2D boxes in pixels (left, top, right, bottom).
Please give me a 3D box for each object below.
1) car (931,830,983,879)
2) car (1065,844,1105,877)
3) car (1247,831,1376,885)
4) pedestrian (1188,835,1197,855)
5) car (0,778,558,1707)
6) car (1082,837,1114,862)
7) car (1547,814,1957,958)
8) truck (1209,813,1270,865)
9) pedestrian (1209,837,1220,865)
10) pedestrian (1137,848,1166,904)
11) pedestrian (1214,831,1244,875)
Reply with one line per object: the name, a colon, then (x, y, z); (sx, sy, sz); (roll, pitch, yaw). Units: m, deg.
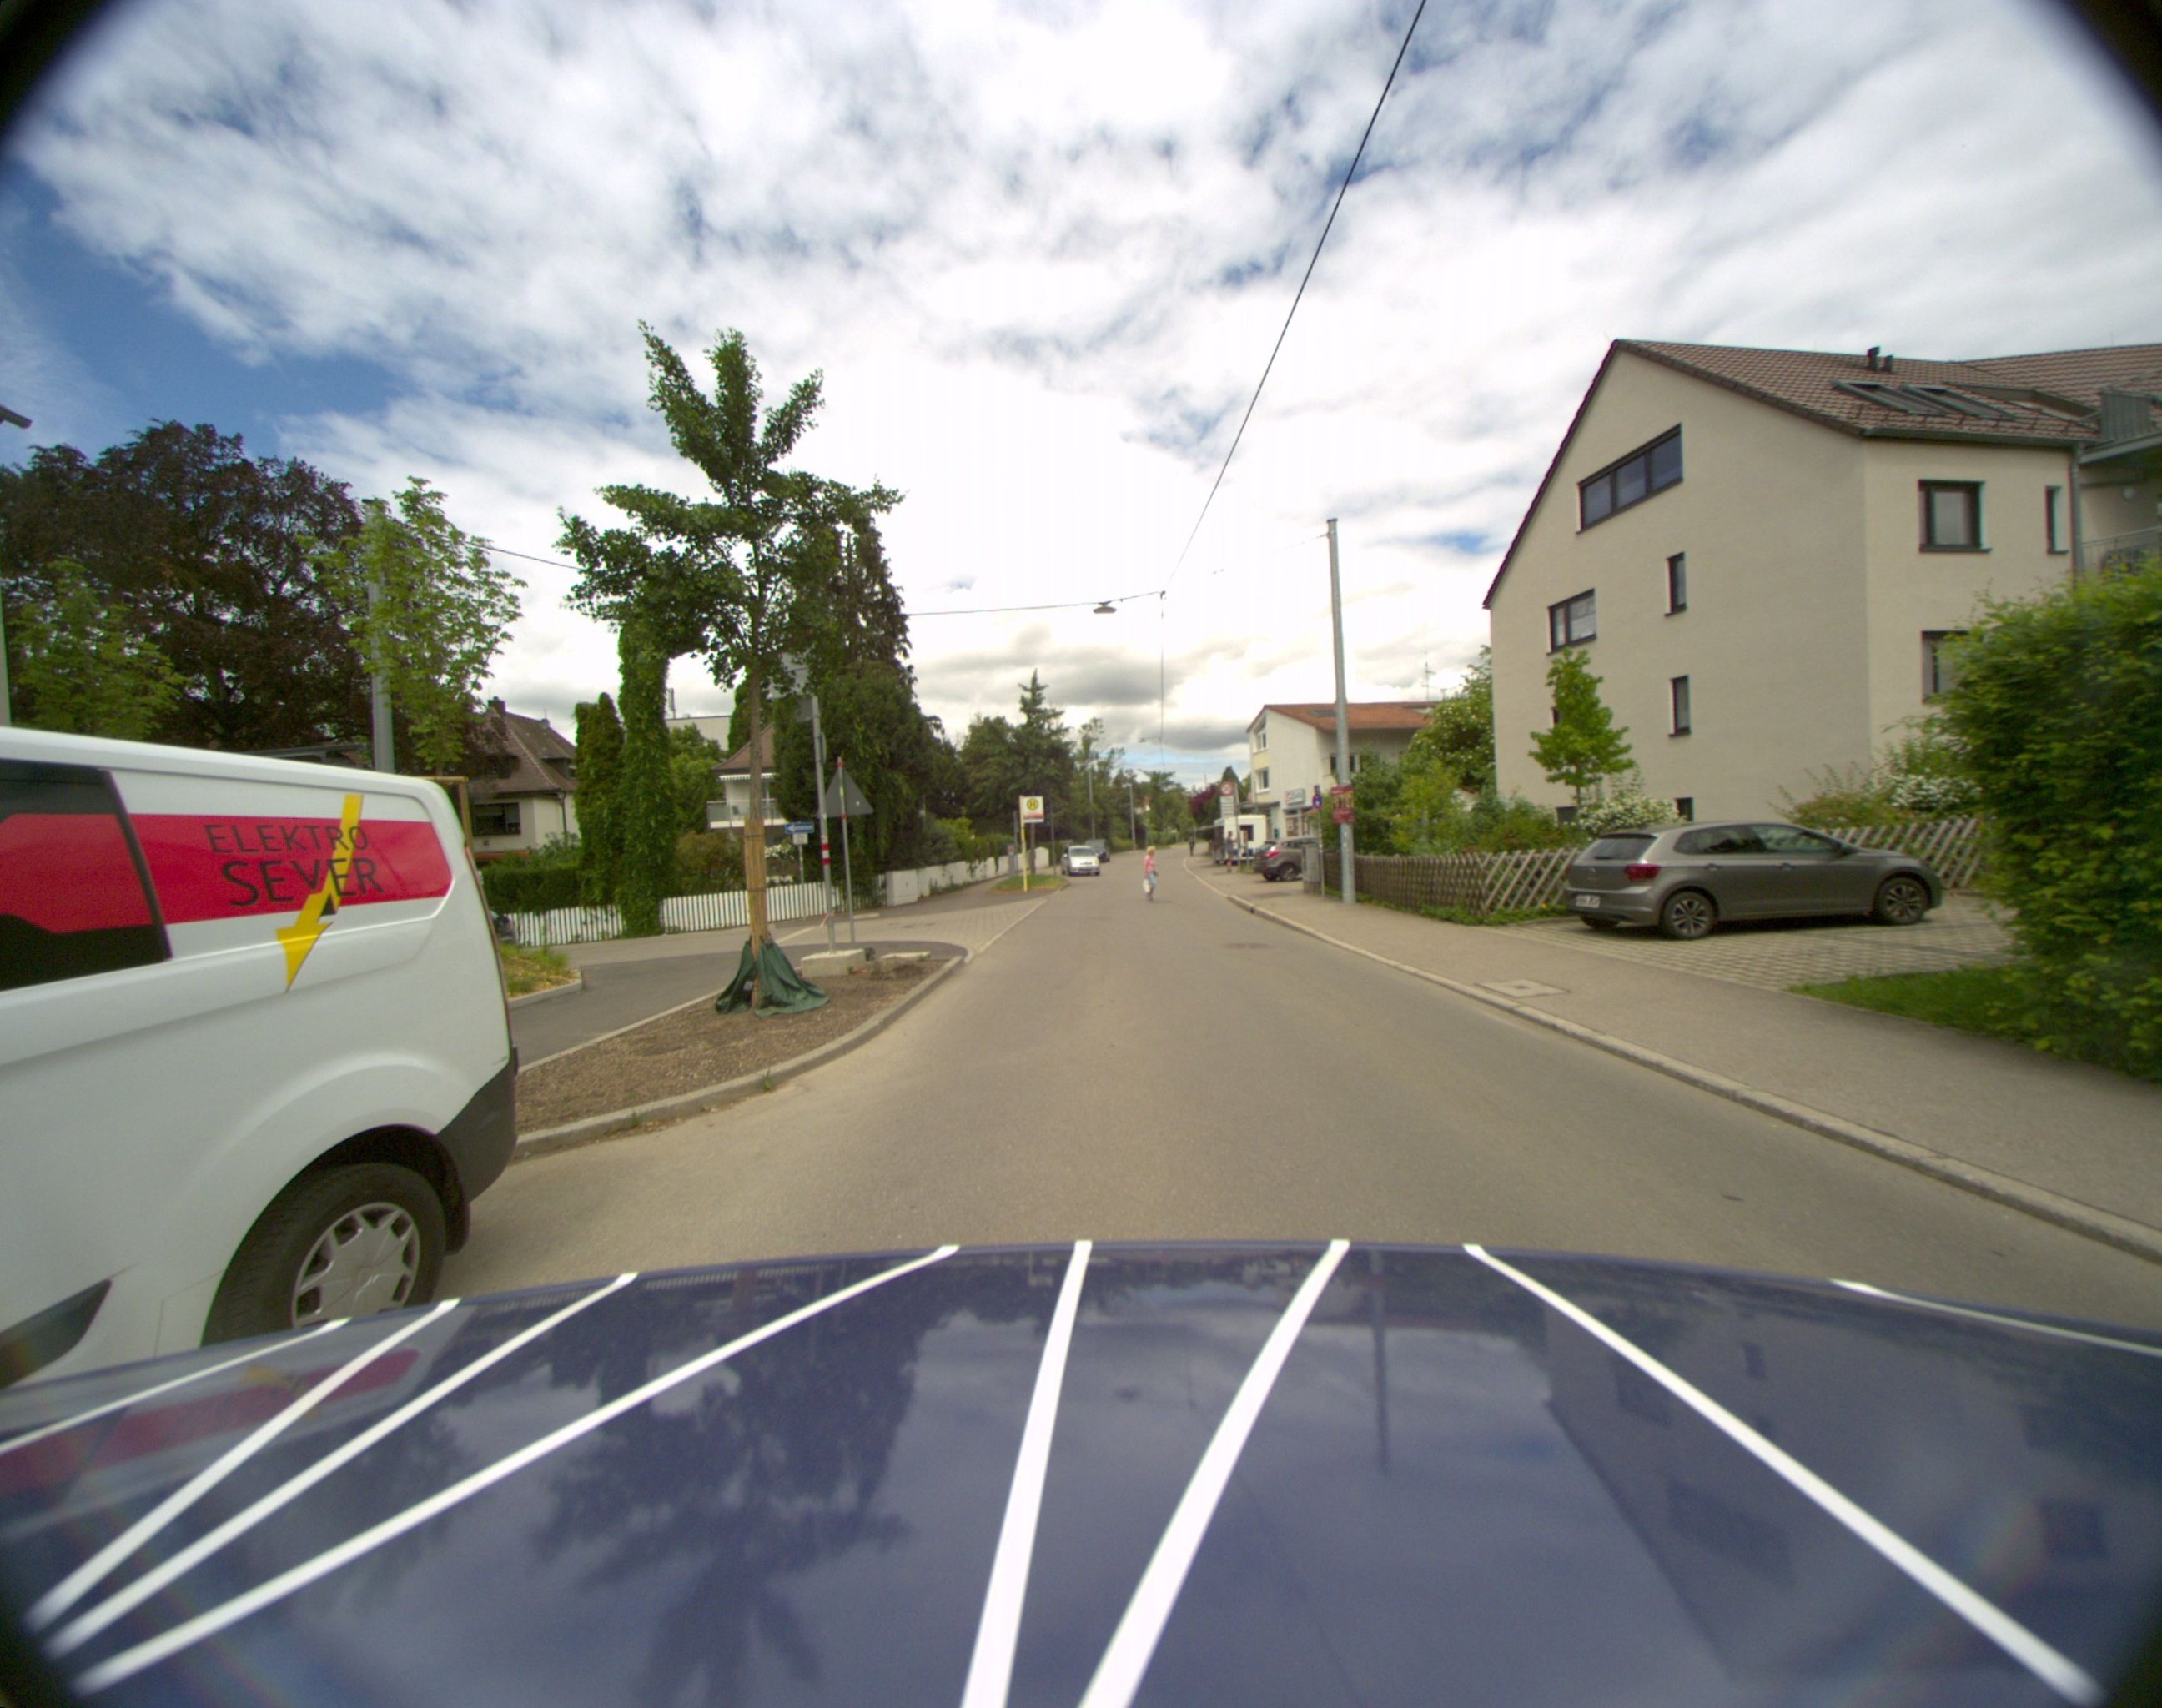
car: (-7.654, -0.019, 47.468); (2.504, 2.667, 5.183); (-5, 2, -4)
car: (0.177, 0.301, 41.378); (1.764, 1.573, 4.015); (-2, 2, -5)
car: (8.858, 0.129, 29.397); (4.324, 1.686, 1.796); (-5, 2, -7)
pedestrian: (10.252, -0.871, 69.999); (0.724, 1.679, 1.108); (-5, 7, 8)
car: (-3.171, 0.890, 0.655); (1.963, 1.905, 4.899); (-5, 2, -1)
car: (1.454, -0.409, 61.458); (1.913, 1.838, 5.159); (-3, 2, 8)
car: (8.562, 0.370, 9.981); (3.680, 1.426, 1.817); (-5, 2, 2)
truck: (9.494, -0.943, 46.086); (2.479, 2.824, 6.707); (-3, 2, 3)
pedestrian: (8.034, -0.175, 45.768); (0.402, 1.685, 0.597); (-5, 2, 2)
pedestrian: (2.149, 0.662, 23.163); (0.856, 1.636, 0.884); (-1, 2, 5)
pedestrian: (6.891, -0.035, 35.372); (1.216, 1.935, 0.735); (-5, 2, 8)
